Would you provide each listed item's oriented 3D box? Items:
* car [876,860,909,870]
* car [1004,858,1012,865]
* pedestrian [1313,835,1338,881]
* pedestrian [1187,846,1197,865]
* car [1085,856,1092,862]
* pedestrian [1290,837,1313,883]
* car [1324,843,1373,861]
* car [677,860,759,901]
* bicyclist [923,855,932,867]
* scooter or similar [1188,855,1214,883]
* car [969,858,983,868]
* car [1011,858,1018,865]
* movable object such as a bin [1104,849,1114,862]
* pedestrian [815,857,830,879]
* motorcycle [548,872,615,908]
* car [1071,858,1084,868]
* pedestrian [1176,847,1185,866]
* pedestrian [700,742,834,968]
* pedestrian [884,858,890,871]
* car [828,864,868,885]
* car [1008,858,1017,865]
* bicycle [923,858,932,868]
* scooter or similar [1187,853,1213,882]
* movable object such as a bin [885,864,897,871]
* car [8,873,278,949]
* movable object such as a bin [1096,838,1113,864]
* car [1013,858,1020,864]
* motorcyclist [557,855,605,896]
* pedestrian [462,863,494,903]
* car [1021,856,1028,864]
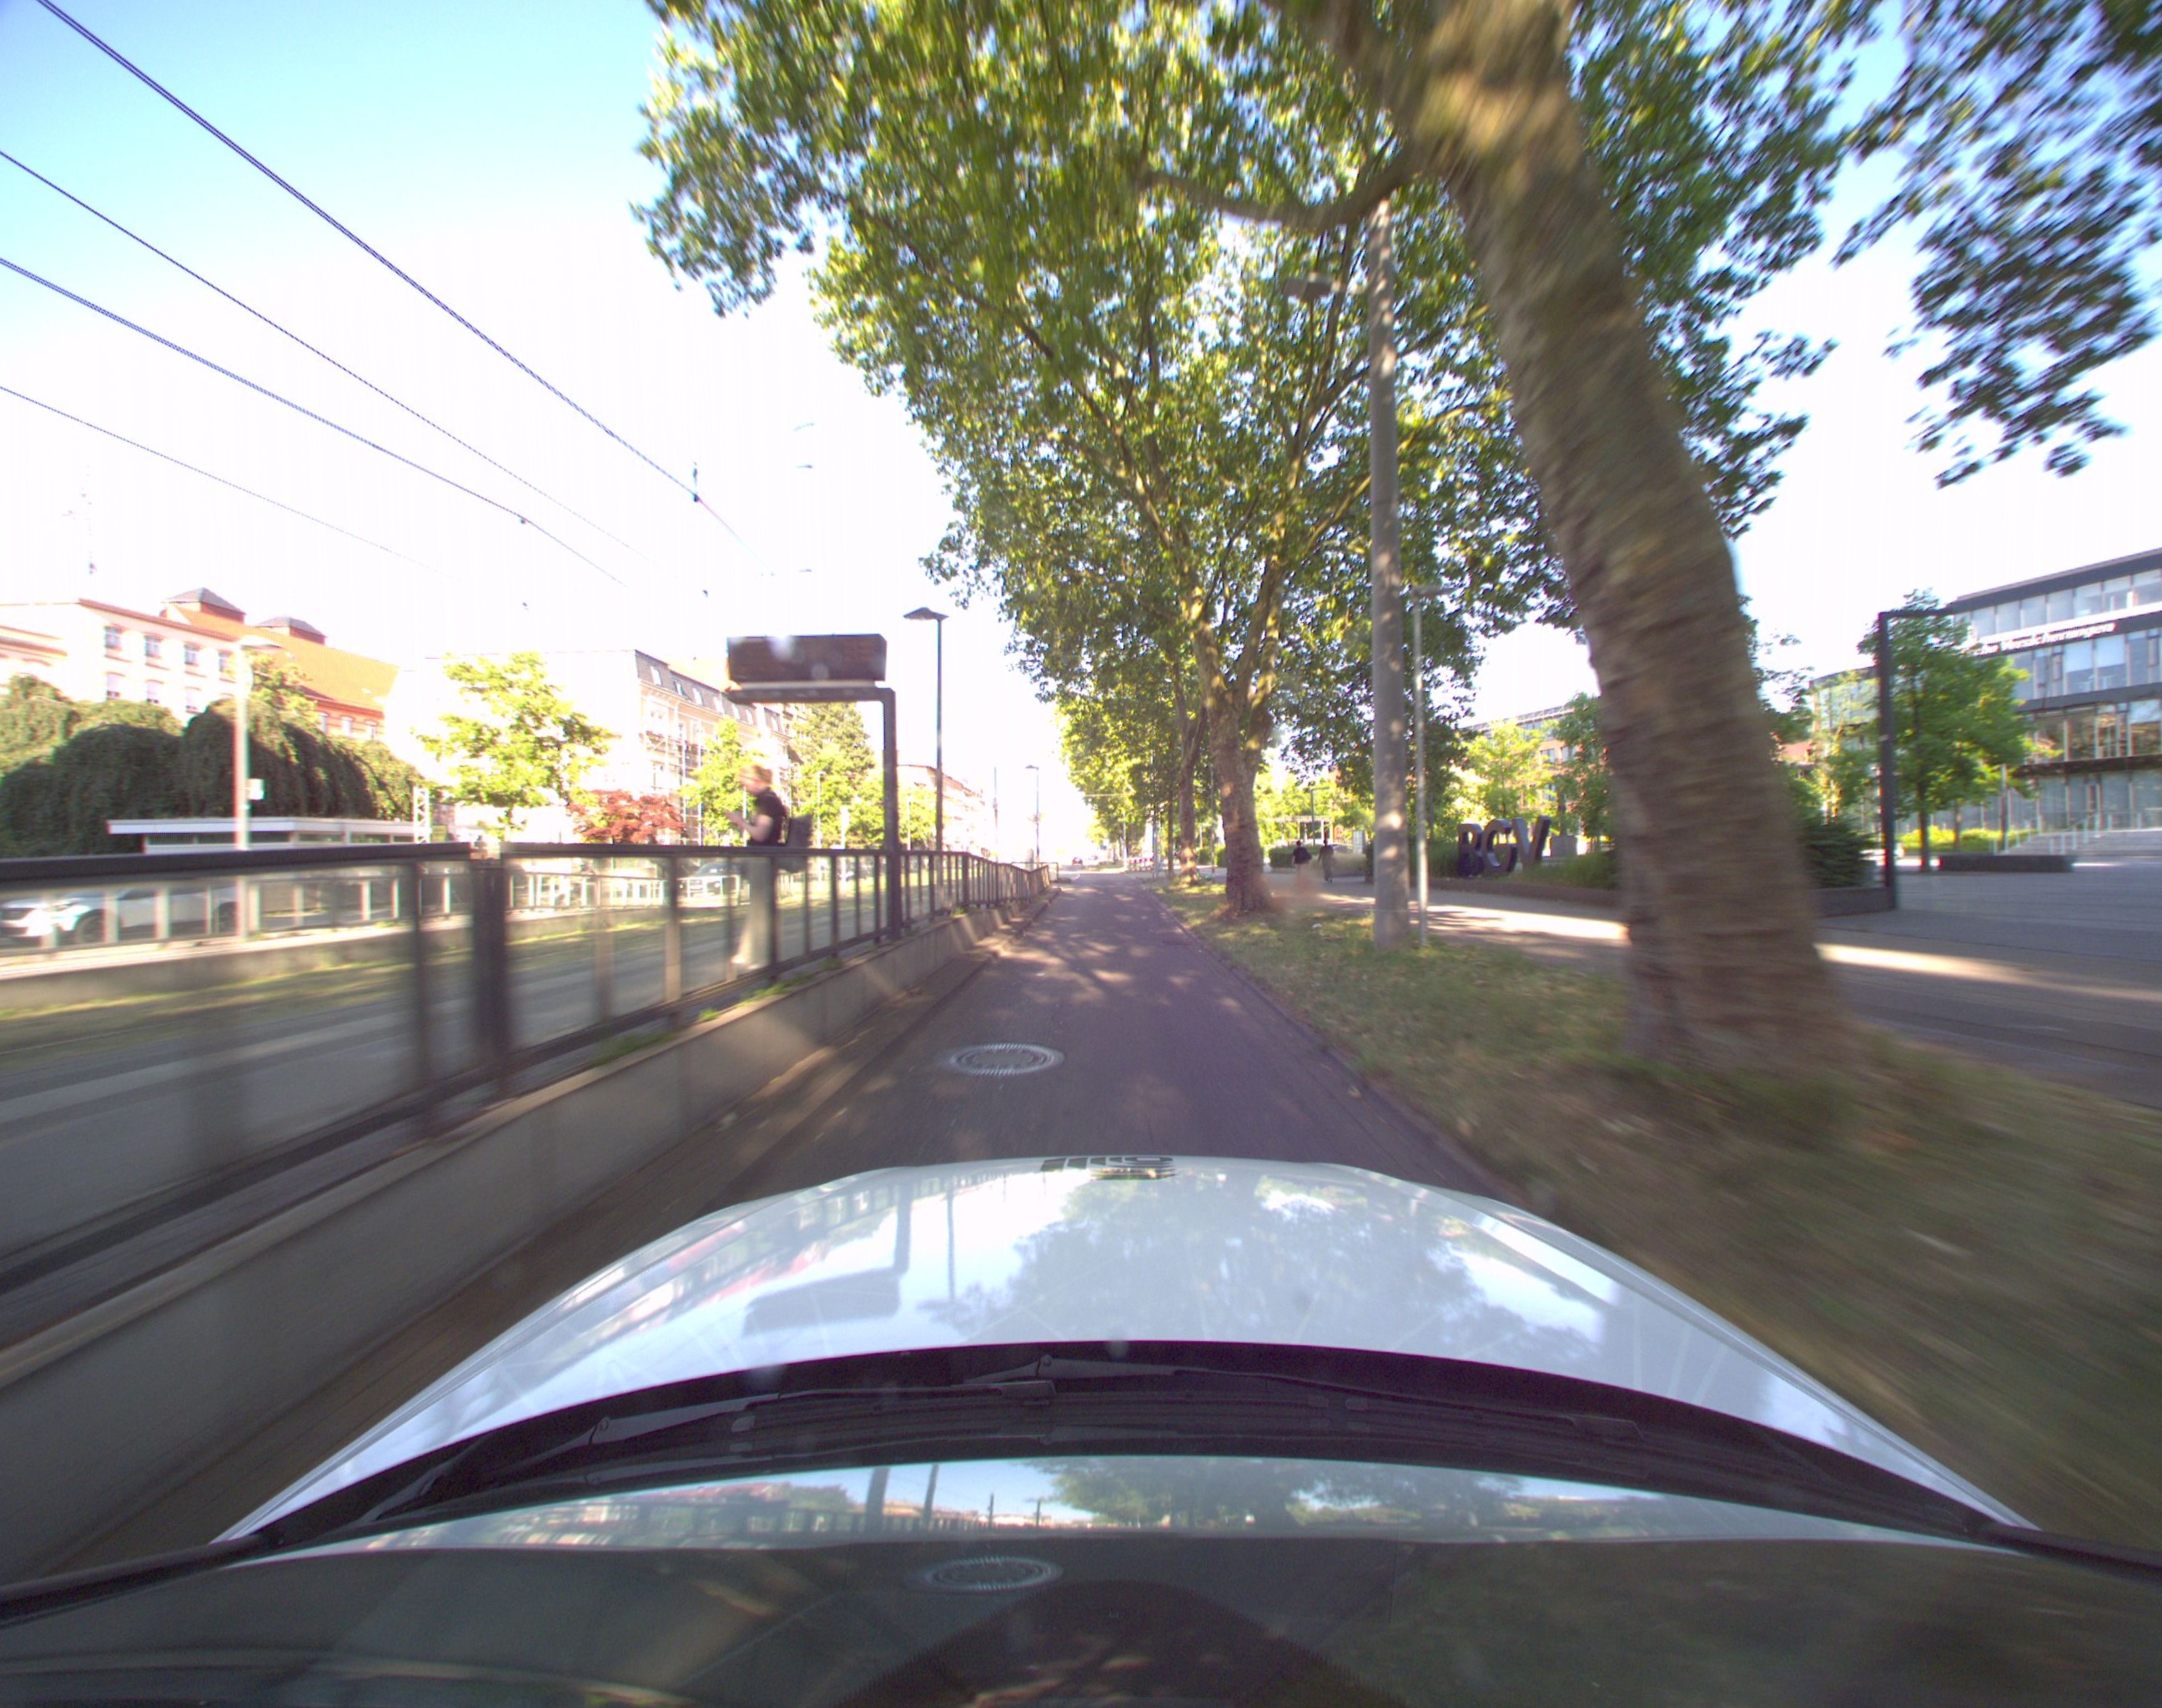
[{"bbox_3d":[-26.208,1.518,113.184,4.138,1.471,2.012,0,-1,30],"label":"car"},{"bbox_3d":[-18.170,1.900,202.886,1.735,1.560,3.768,1,1,1],"label":"car"},{"bbox_3d":[9.039,0.147,30.105,0.647,1.656,0.783,-2,-1,1],"label":"pedestrian"},{"bbox_3d":[10.907,0.186,79.801,0.802,1.793,1.110,-2,-1,2],"label":"pedestrian"},{"bbox_3d":[2.304,1.446,259.844,1.990,1.860,3.993,1,0,-5],"label":"car"},{"bbox_3d":[8.143,0.224,30.093,0.625,1.656,0.740,-2,-1,1],"label":"pedestrian"},{"bbox_3d":[27.842,-0.193,84.782,4.686,1.713,1.836,-3,1,-20],"label":"car"},{"bbox_3d":[-17.166,1.228,38.729,1.856,1.806,4.031,1,0,3],"label":"car"},{"bbox_3d":[-18.639,0.820,99.028,0.772,1.481,1.134,1,-1,1],"label":"bicyclist"},{"bbox_3d":[5.411,0.668,36.776,1.047,1.244,0.842,-2,-1,3],"label":"scooter or similar"},{"bbox_3d":[-19.629,1.619,152.714,2.008,1.754,4.559,1,1,1],"label":"car"},{"bbox_3d":[-17.309,1.930,213.181,1.521,1.560,3.224,1,1,1],"label":"car"},{"bbox_3d":[6.512,0.381,188.664,1.961,3.013,4.797,-4,0,1],"label":"movable object such as a bin"},{"bbox_3d":[-22.810,1.233,71.818,0.855,1.928,1.086,-2,-1,0],"label":"pedestrian"},{"bbox_3d":[-16.647,1.174,27.222,0.816,1.073,2.399,1,0,-3],"label":"motorcycle"},{"bbox_3d":[-0.618,1.505,138.537,1.986,1.684,4.001,1,0,1],"label":"car"},{"bbox_3d":[9.724,0.224,79.654,0.747,1.793,1.086,-2,-1,2],"label":"pedestrian"},{"bbox_3d":[-2.463,0.006,6.462,0.754,1.690,0.678,1,-1,1],"label":"pedestrian"},{"bbox_3d":[-24.266,1.363,101.856,0.616,1.593,0.797,1,-1,-1],"label":"pedestrian"},{"bbox_3d":[-16.676,1.457,58.479,1.600,1.408,3.852,1,0,1],"label":"car"},{"bbox_3d":[-17.449,1.935,207.637,1.735,1.560,3.768,1,1,1],"label":"car"},{"bbox_3d":[-18.645,1.049,98.896,0.772,1.193,1.756,1,0,1],"label":"bicycle"},{"bbox_3d":[5.237,0.599,35.887,1.047,1.244,0.842,-2,-1,3],"label":"scooter or similar"},{"bbox_3d":[-23.975,1.714,102.905,1.241,0.865,1.236,1,-1,-1],"label":"movable object such as a bin"},{"bbox_3d":[-22.814,1.313,20.094,1.713,1.586,4.071,1,0,5],"label":"car"},{"bbox_3d":[4.781,-0.529,166.519,3.076,5.088,8.893,-4,0,1],"label":"movable object such as a bin"},{"bbox_3d":[-17.323,1.970,219.719,1.521,1.560,3.224,1,1,1],"label":"car"},{"bbox_3d":[-16.639,0.706,27.130,0.816,1.300,1.275,1,0,-3],"label":"motorcyclist"},{"bbox_3d":[-25.465,1.229,34.386,0.723,1.647,0.811,-2,-1,-5],"label":"pedestrian"},{"bbox_3d":[-17.213,1.804,247.914,1.652,2.139,3.526,1,1,1],"label":"car"}]
